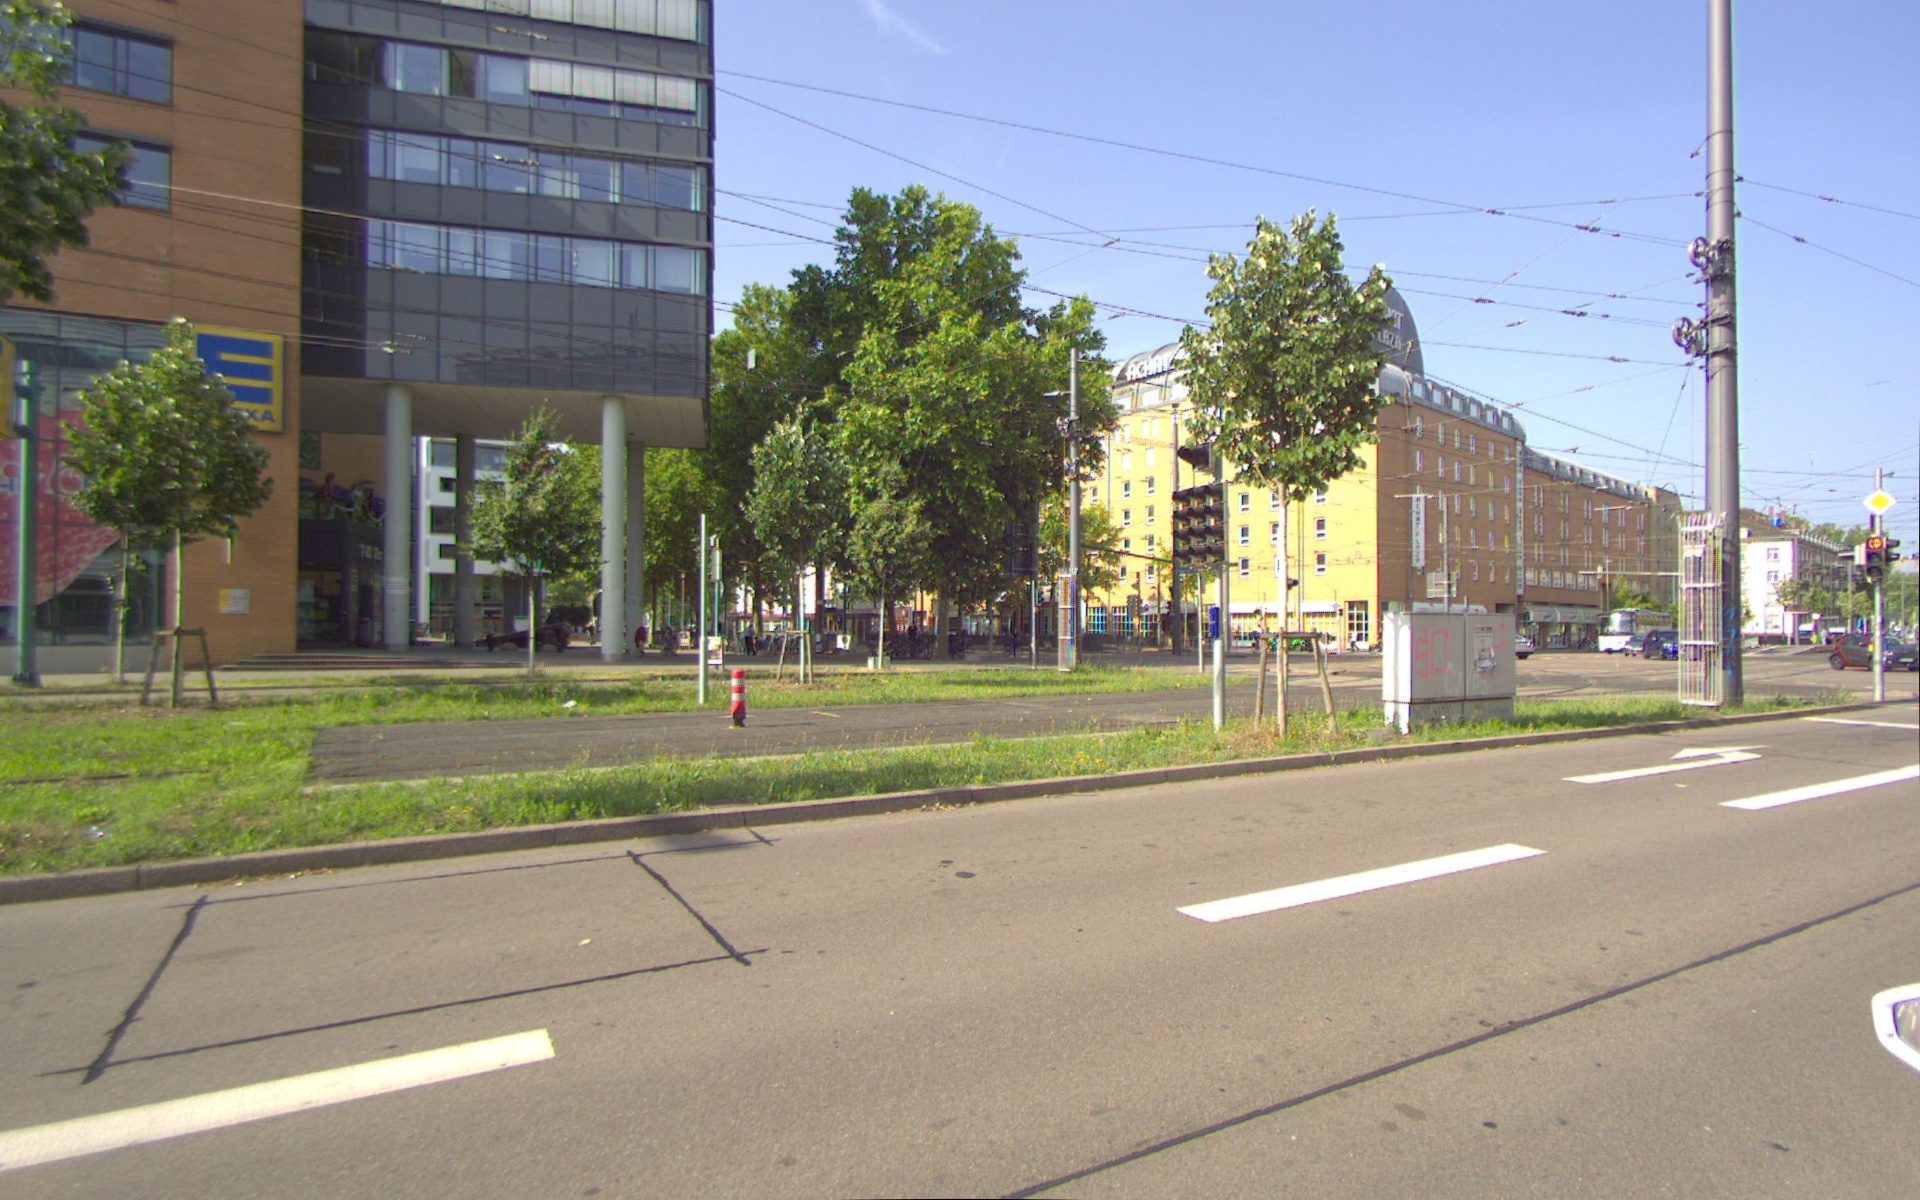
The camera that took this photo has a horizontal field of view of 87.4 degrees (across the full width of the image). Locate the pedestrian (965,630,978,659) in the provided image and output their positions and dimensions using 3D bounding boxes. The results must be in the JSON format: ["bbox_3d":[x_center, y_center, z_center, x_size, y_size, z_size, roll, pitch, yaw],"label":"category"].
[{"bbox_3d":[0.712,2.702,61.137,0.504,1.748,0.527,3,-3,-38],"label":"pedestrian"}]

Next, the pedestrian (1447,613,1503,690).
[{"bbox_3d":[14.026,1.385,27.351,0.770,2.040,1.145,3,-3,-40],"label":"pedestrian"}]

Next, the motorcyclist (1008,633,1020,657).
[{"bbox_3d":[3.075,2.569,57.518,0.414,1.339,0.527,3,-3,-38],"label":"motorcyclist"}]

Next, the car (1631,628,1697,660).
[{"bbox_3d":[38.365,2.414,54.848,1.953,1.657,4.414,1,-3,21],"label":"car"}]

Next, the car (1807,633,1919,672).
[{"bbox_3d":[36.729,2.107,40.765,1.668,1.512,3.605,-1,-2,2],"label":"car"}]

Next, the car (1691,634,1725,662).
[{"bbox_3d":[56.543,3.620,75.889,2.710,2.040,1.587,4,-3,-42],"label":"car"}]

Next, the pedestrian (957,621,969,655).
[{"bbox_3d":[0.201,2.331,61.641,0.534,2.040,0.485,3,-3,-38],"label":"pedestrian"}]

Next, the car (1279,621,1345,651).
[{"bbox_3d":[24.704,2.510,70.507,1.984,2.040,3.955,3,-3,-39],"label":"car"}]

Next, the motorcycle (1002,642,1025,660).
[{"bbox_3d":[3.055,2.911,57.507,0.281,1.008,1.677,3,-3,-37],"label":"motorcycle"}]

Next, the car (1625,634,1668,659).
[{"bbox_3d":[43.842,3.000,64.133,1.969,1.506,4.204,0,-3,39],"label":"car"}]

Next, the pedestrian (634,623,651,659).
[{"bbox_3d":[-14.127,1.824,44.740,0.651,1.563,0.617,0,-1,-12],"label":"pedestrian"}]

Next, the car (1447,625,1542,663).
[{"bbox_3d":[29.362,2.388,55.363,1.968,2.040,4.600,1,-2,-17],"label":"car"}]

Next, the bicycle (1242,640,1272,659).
[{"bbox_3d":[19.986,3.326,67.551,2.262,1.222,0.545,3,-3,-32],"label":"bicycle"}]

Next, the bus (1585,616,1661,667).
[{"bbox_3d":[55.598,3.539,84.062,12.135,3.972,2.720,4,-3,-44],"label":"bus"}]

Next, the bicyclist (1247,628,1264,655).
[{"bbox_3d":[19.852,2.764,67.469,0.956,1.769,0.661,3,-3,-31],"label":"bicyclist"}]
